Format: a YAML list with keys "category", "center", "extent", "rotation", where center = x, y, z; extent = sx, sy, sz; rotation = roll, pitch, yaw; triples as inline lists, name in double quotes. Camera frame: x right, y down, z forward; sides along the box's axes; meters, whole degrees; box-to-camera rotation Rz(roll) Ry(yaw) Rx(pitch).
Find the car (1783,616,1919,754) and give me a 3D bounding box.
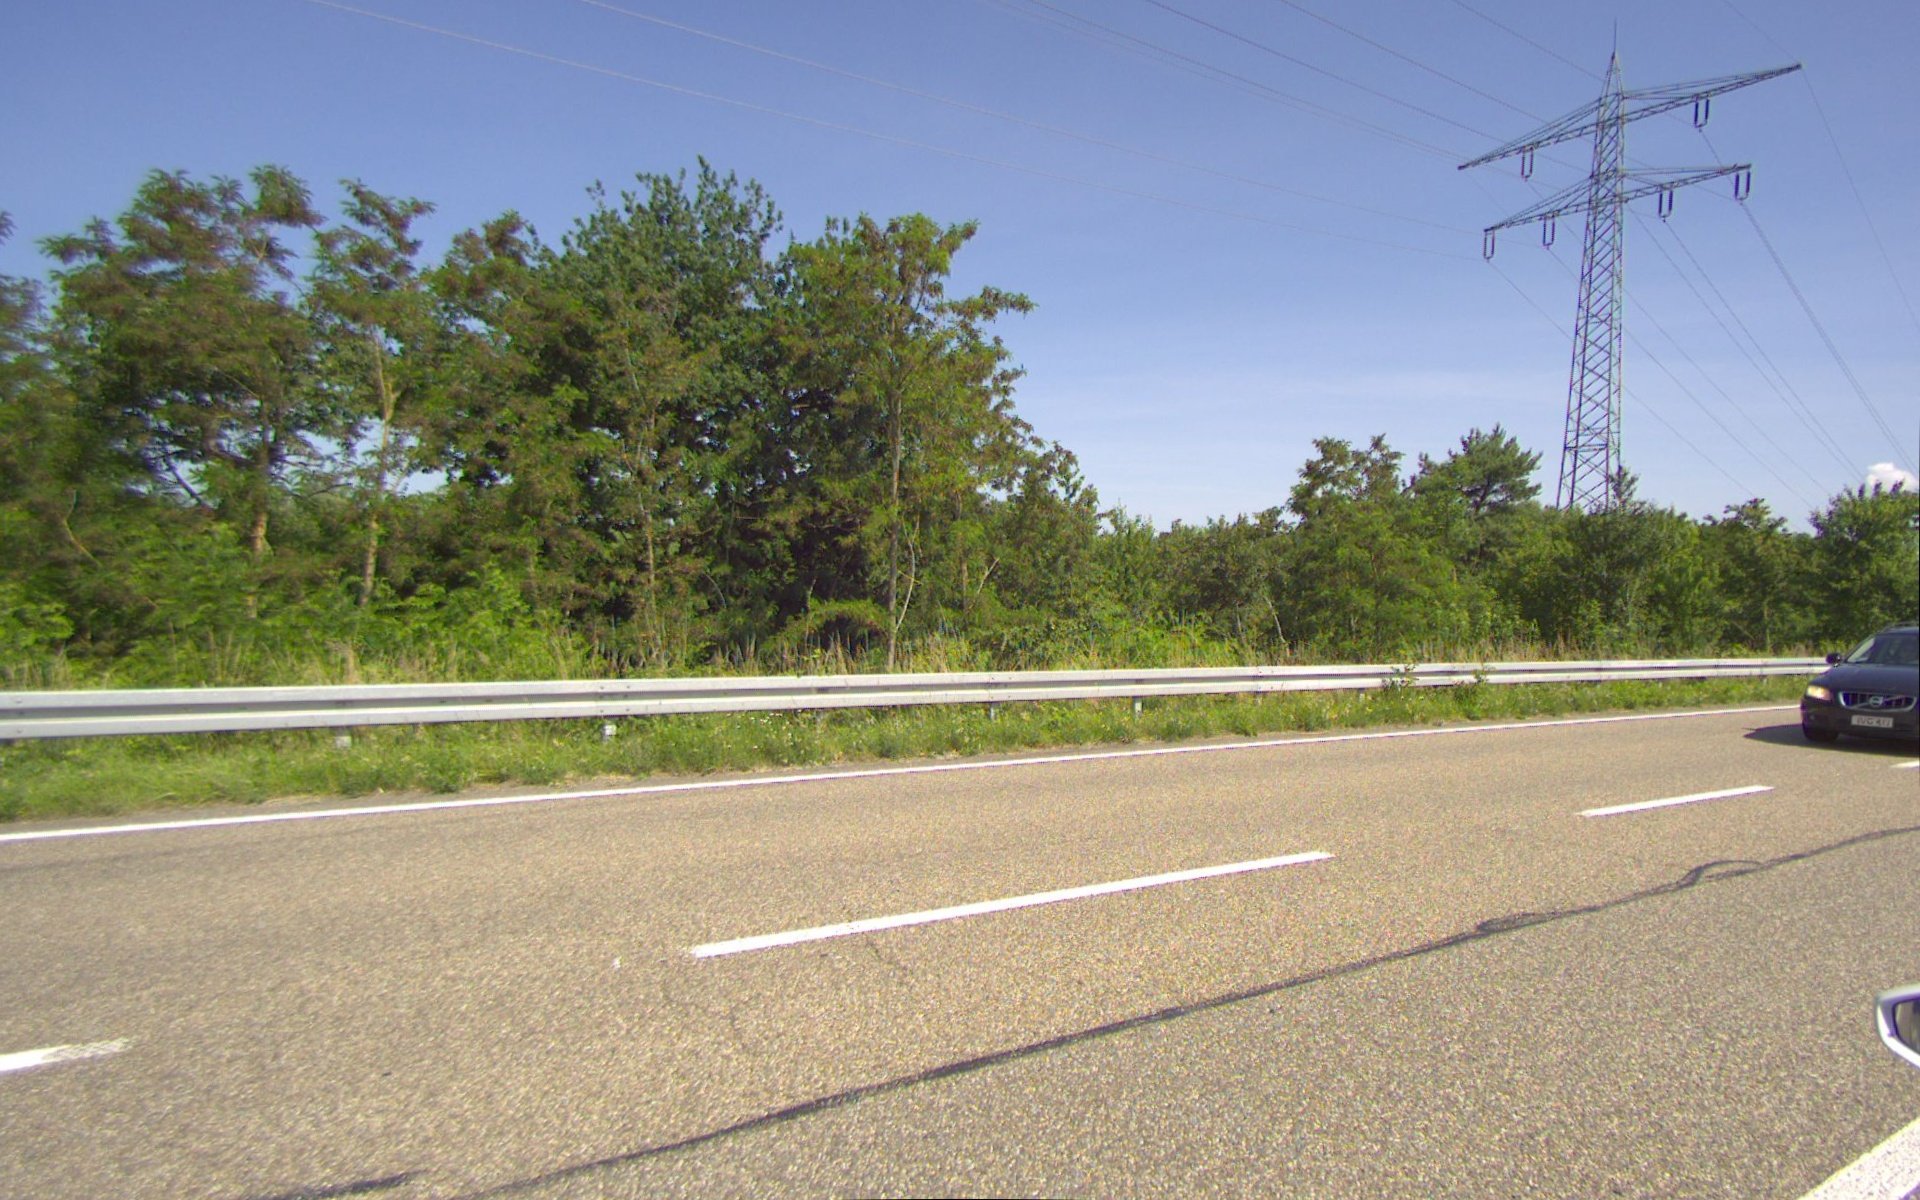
- category: "car"
  center: [12.380, 0.996, 12.716]
  extent: [4.373, 1.511, 1.718]
  rotation: [1, 0, -32]
